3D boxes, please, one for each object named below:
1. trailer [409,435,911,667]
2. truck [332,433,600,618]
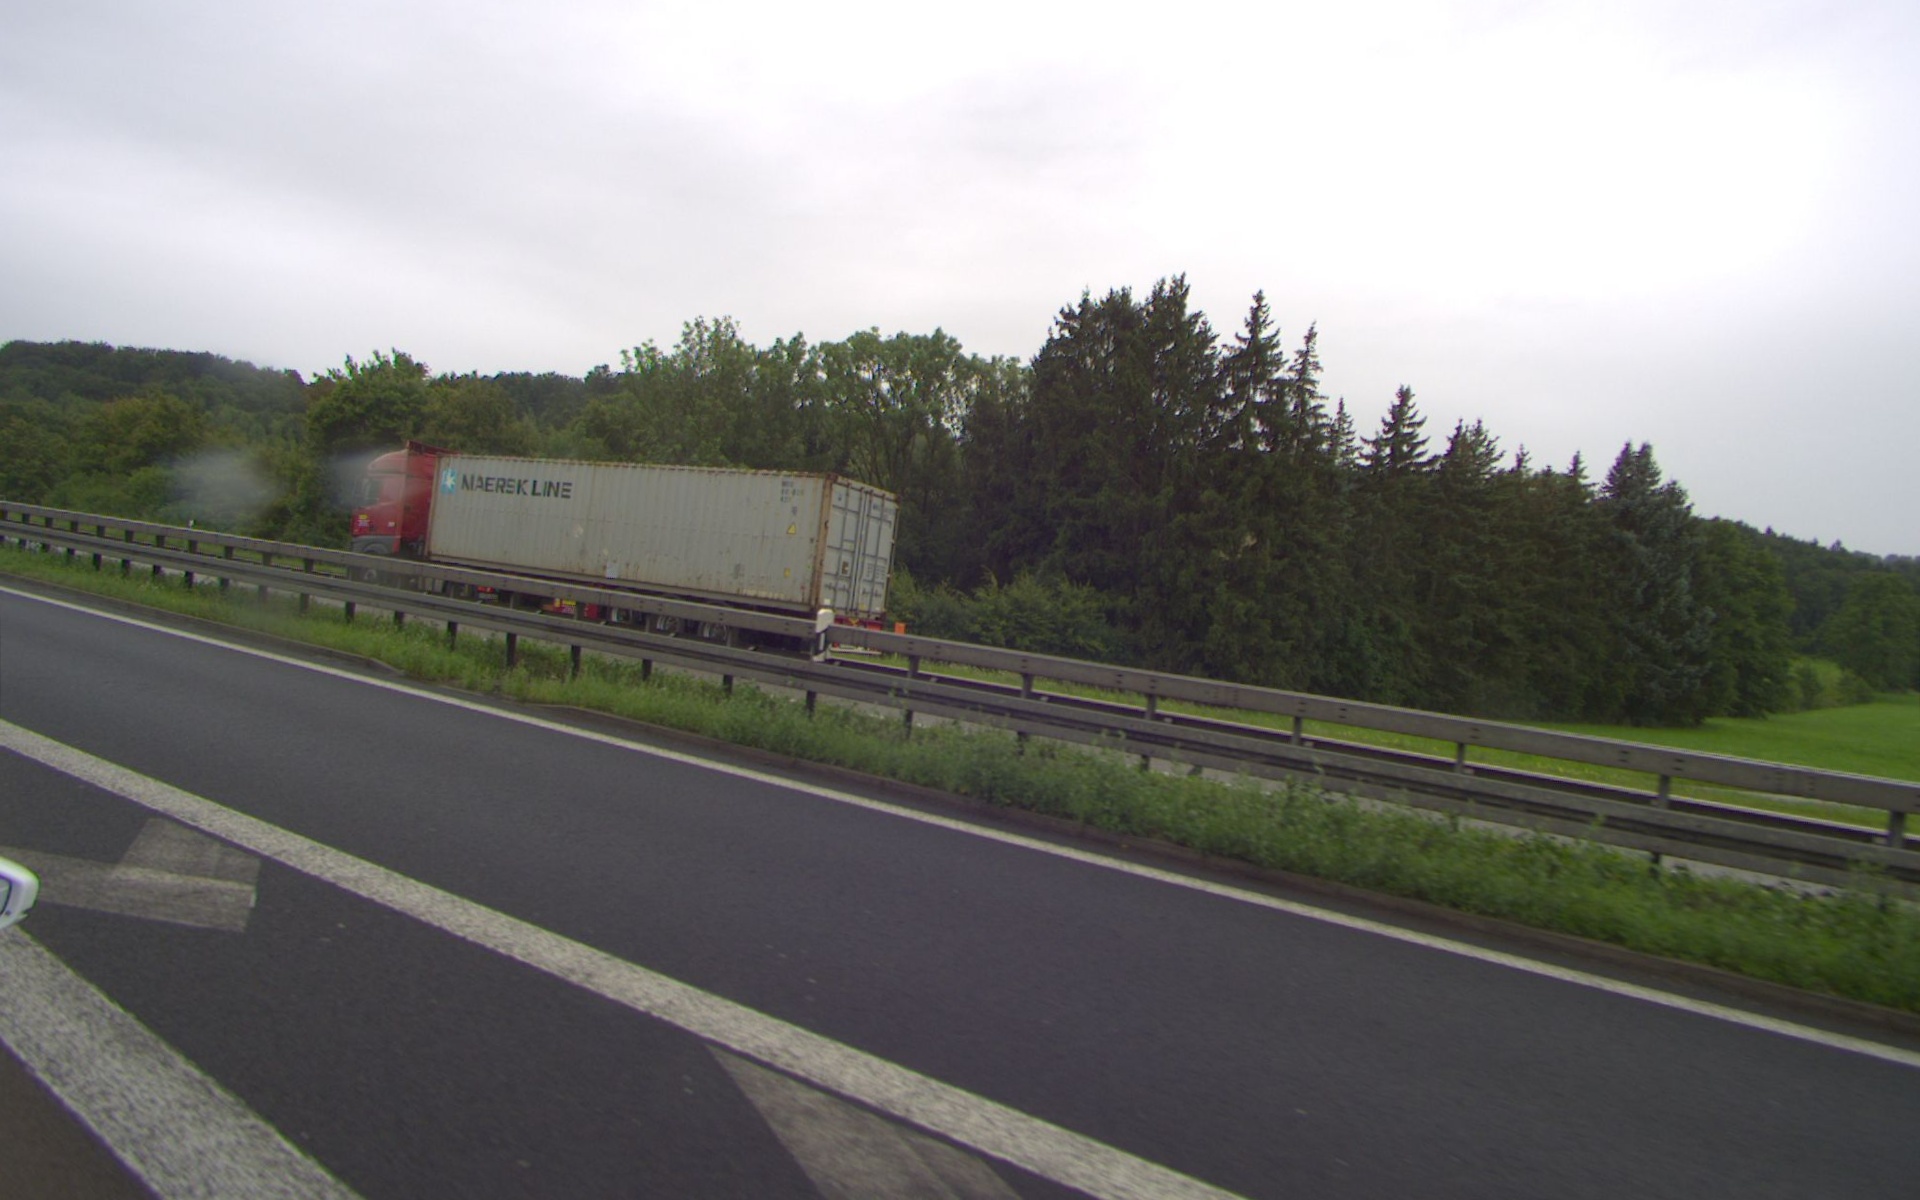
[{"bbox_3d":[-7.181,-1.307,22.537,12.276,3.940,2.610,7,-1,29],"label":"trailer"},{"bbox_3d":[-12.613,-1.930,25.583,6.282,3.930,2.622,7,-1,29],"label":"truck"}]
